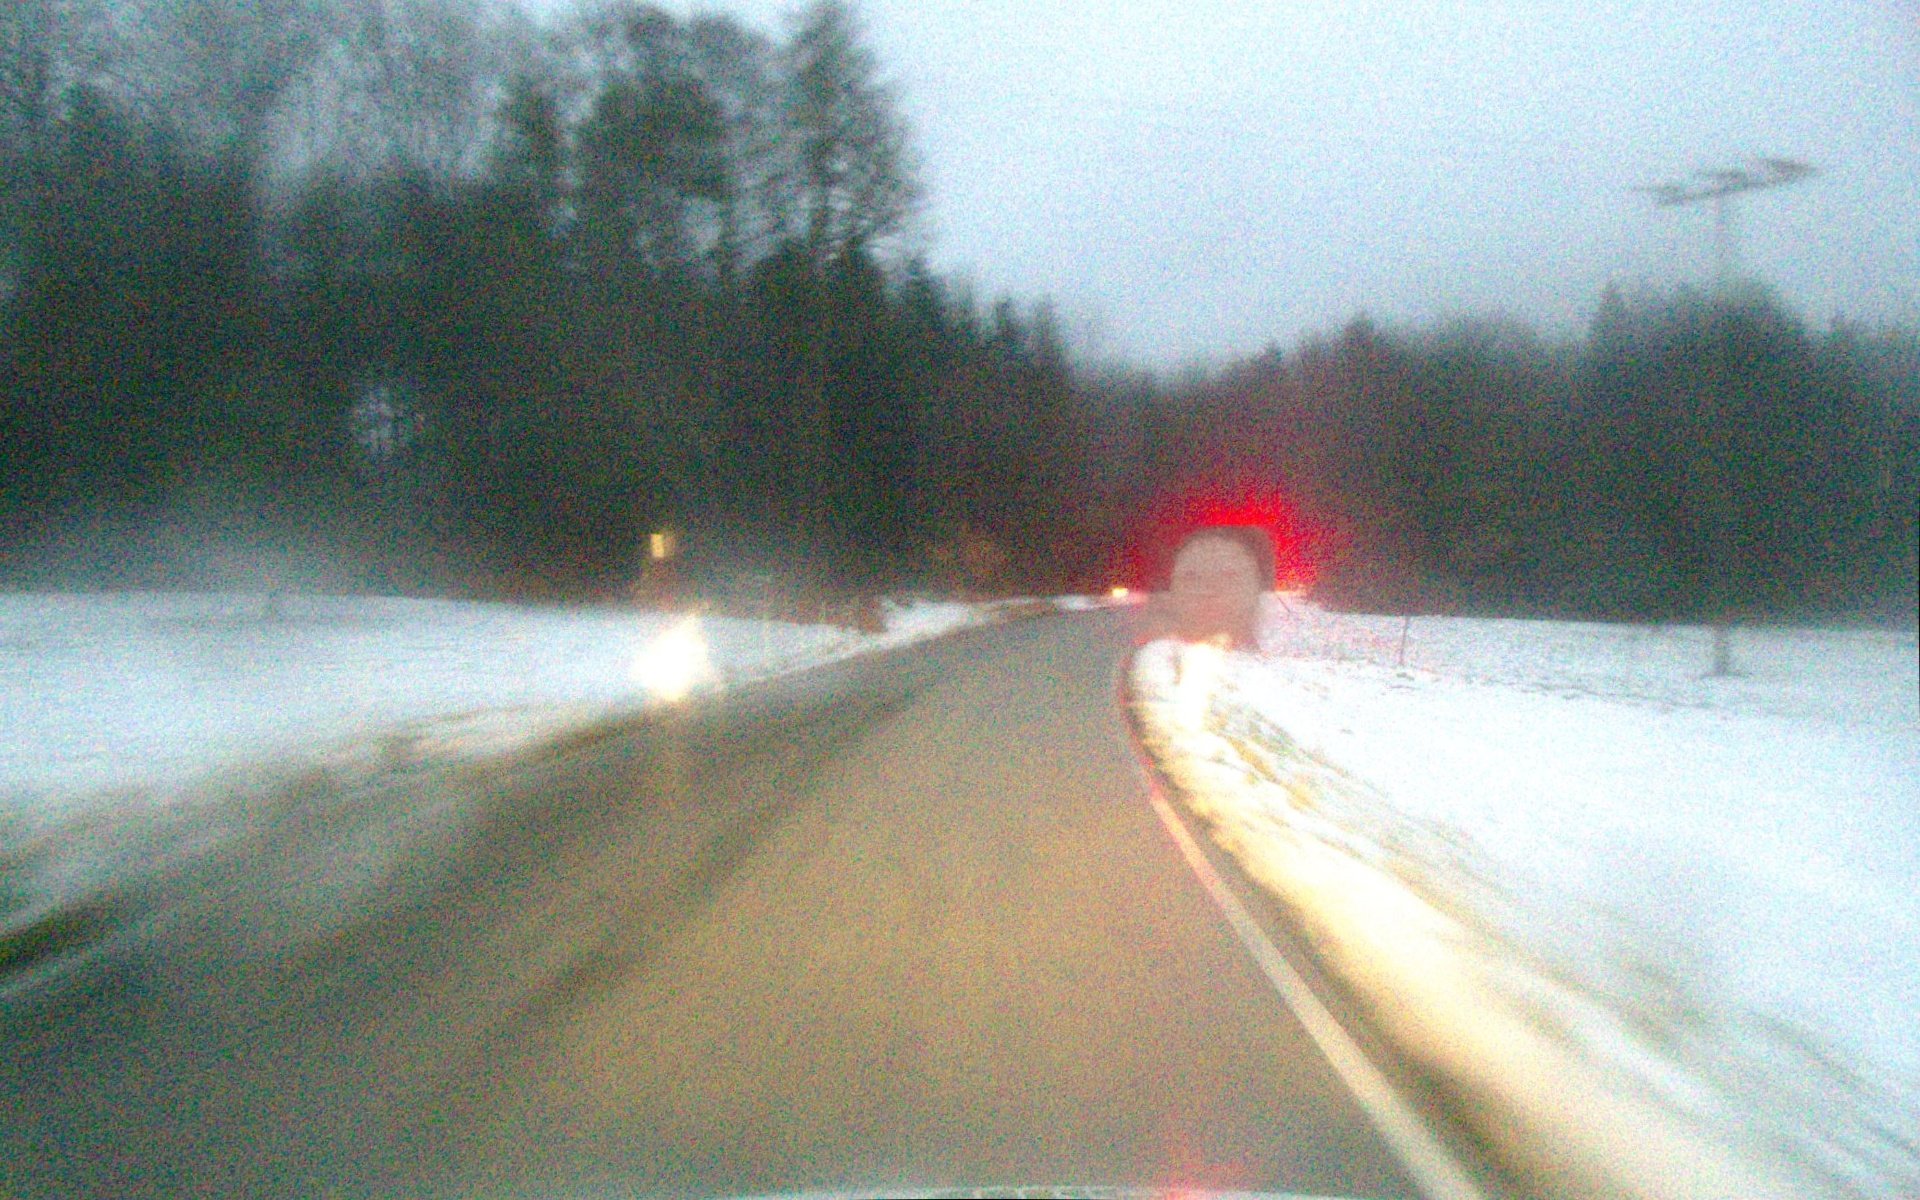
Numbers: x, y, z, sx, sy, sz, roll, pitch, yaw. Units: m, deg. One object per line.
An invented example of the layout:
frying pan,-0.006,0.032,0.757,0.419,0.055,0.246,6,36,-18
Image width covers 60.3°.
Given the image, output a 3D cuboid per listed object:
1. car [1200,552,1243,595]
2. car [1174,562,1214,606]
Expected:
car,16.675,-1.671,105.227,2.204,2.691,5.010,0,1,14
car,12.110,-0.855,85.580,1.951,2.087,4.004,3,2,8
